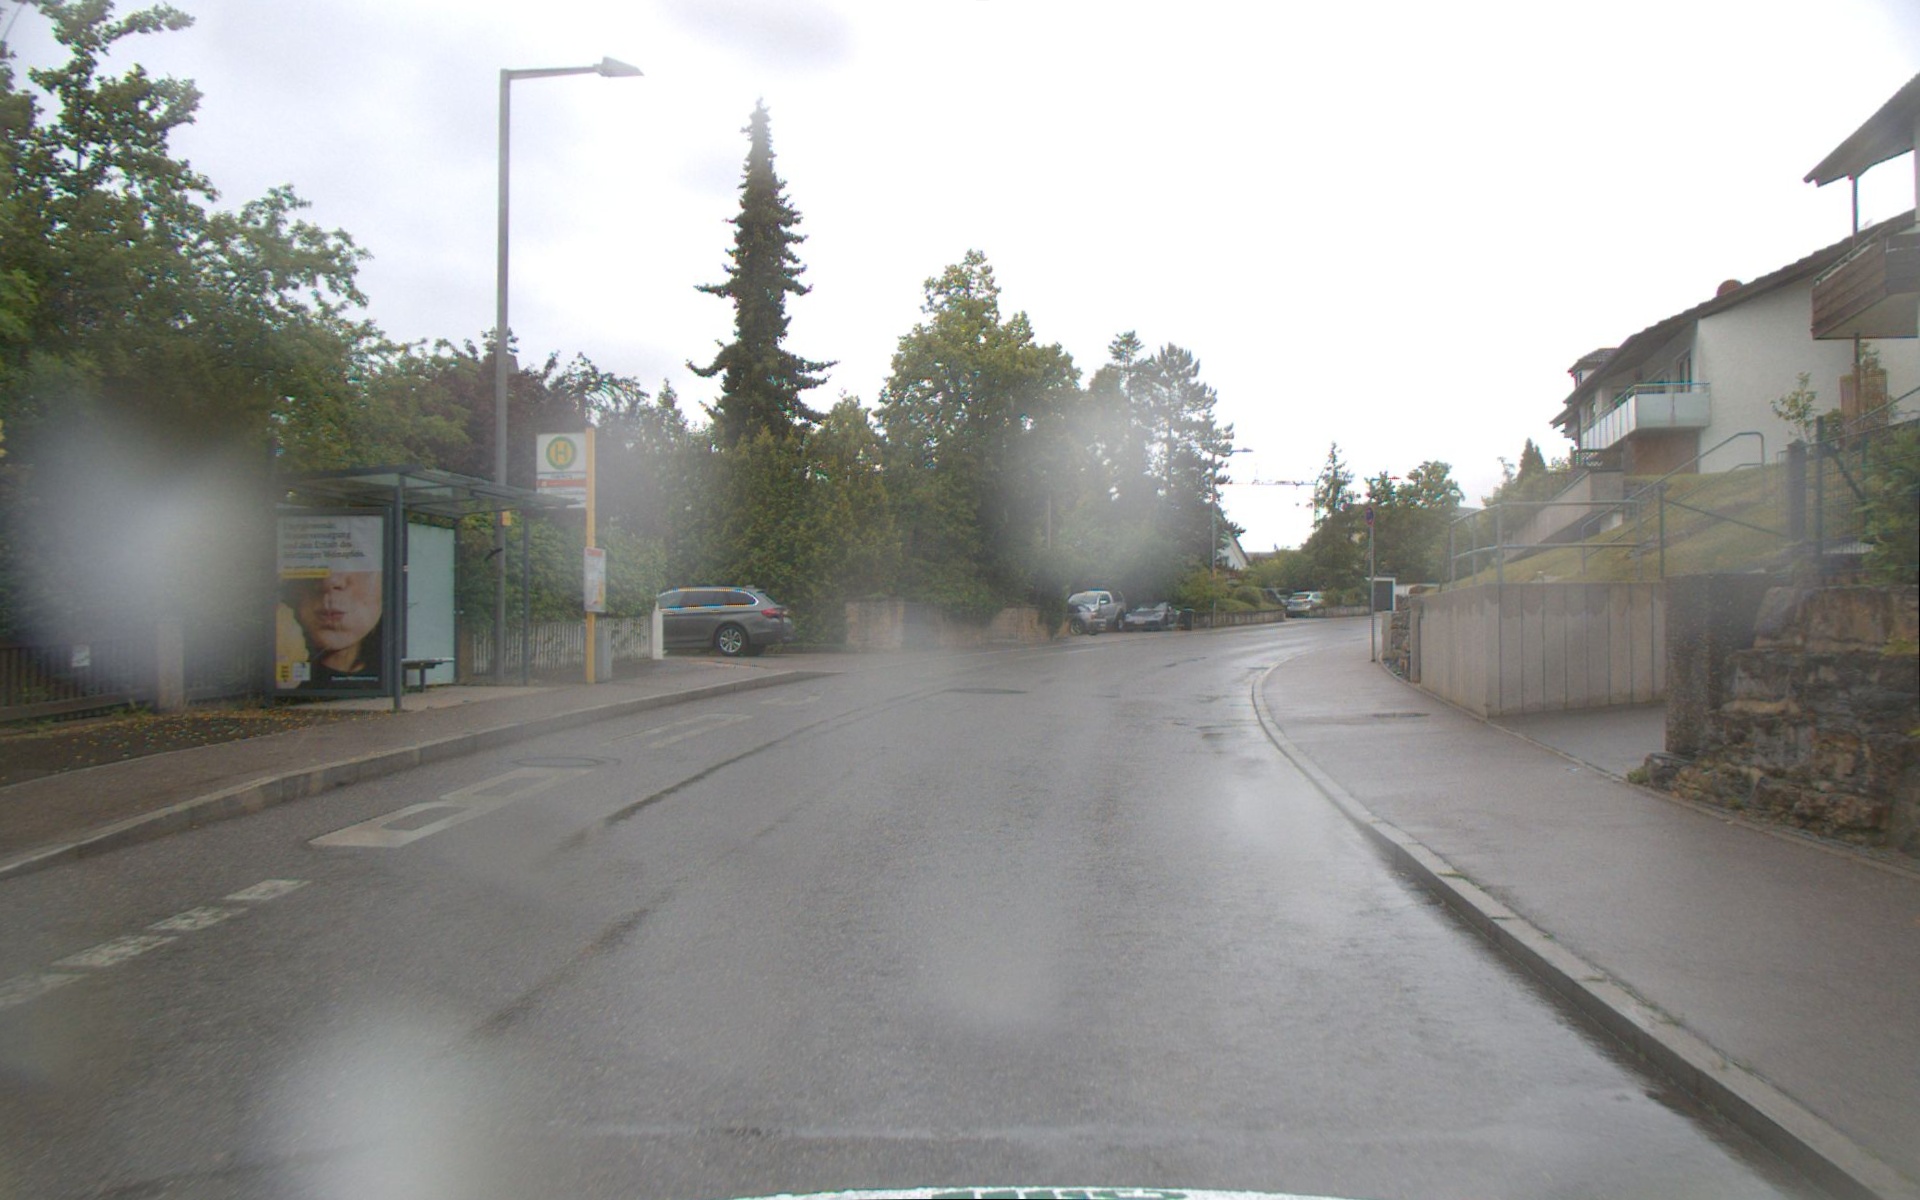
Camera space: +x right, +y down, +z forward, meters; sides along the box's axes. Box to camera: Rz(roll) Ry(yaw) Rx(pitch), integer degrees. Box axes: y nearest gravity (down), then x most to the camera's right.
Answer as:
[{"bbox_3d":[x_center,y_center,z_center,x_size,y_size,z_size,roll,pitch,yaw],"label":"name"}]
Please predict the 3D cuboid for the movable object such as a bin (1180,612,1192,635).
[{"bbox_3d":[9.944,1.043,72.834,0.362,1.005,0.558,-1,0,22],"label":"movable object such as a bin"}]

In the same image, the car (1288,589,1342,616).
[{"bbox_3d":[21.461,0.159,100.026,1.706,1.578,3.984,-1,0,36],"label":"car"}]

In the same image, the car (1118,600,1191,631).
[{"bbox_3d":[8.763,0.682,74.176,1.954,1.330,4.430,-1,0,25],"label":"car"}]

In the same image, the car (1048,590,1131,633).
[{"bbox_3d":[5.881,0.487,74.457,1.954,1.876,5.475,-1,0,24],"label":"car"}]

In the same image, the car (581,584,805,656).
[{"bbox_3d":[-5.704,0.414,35.618,4.444,1.501,1.840,0,0,5],"label":"car"}]

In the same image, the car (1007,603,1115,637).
[{"bbox_3d":[4.045,0.792,66.177,3.911,1.294,1.871,0,0,29],"label":"car"}]
